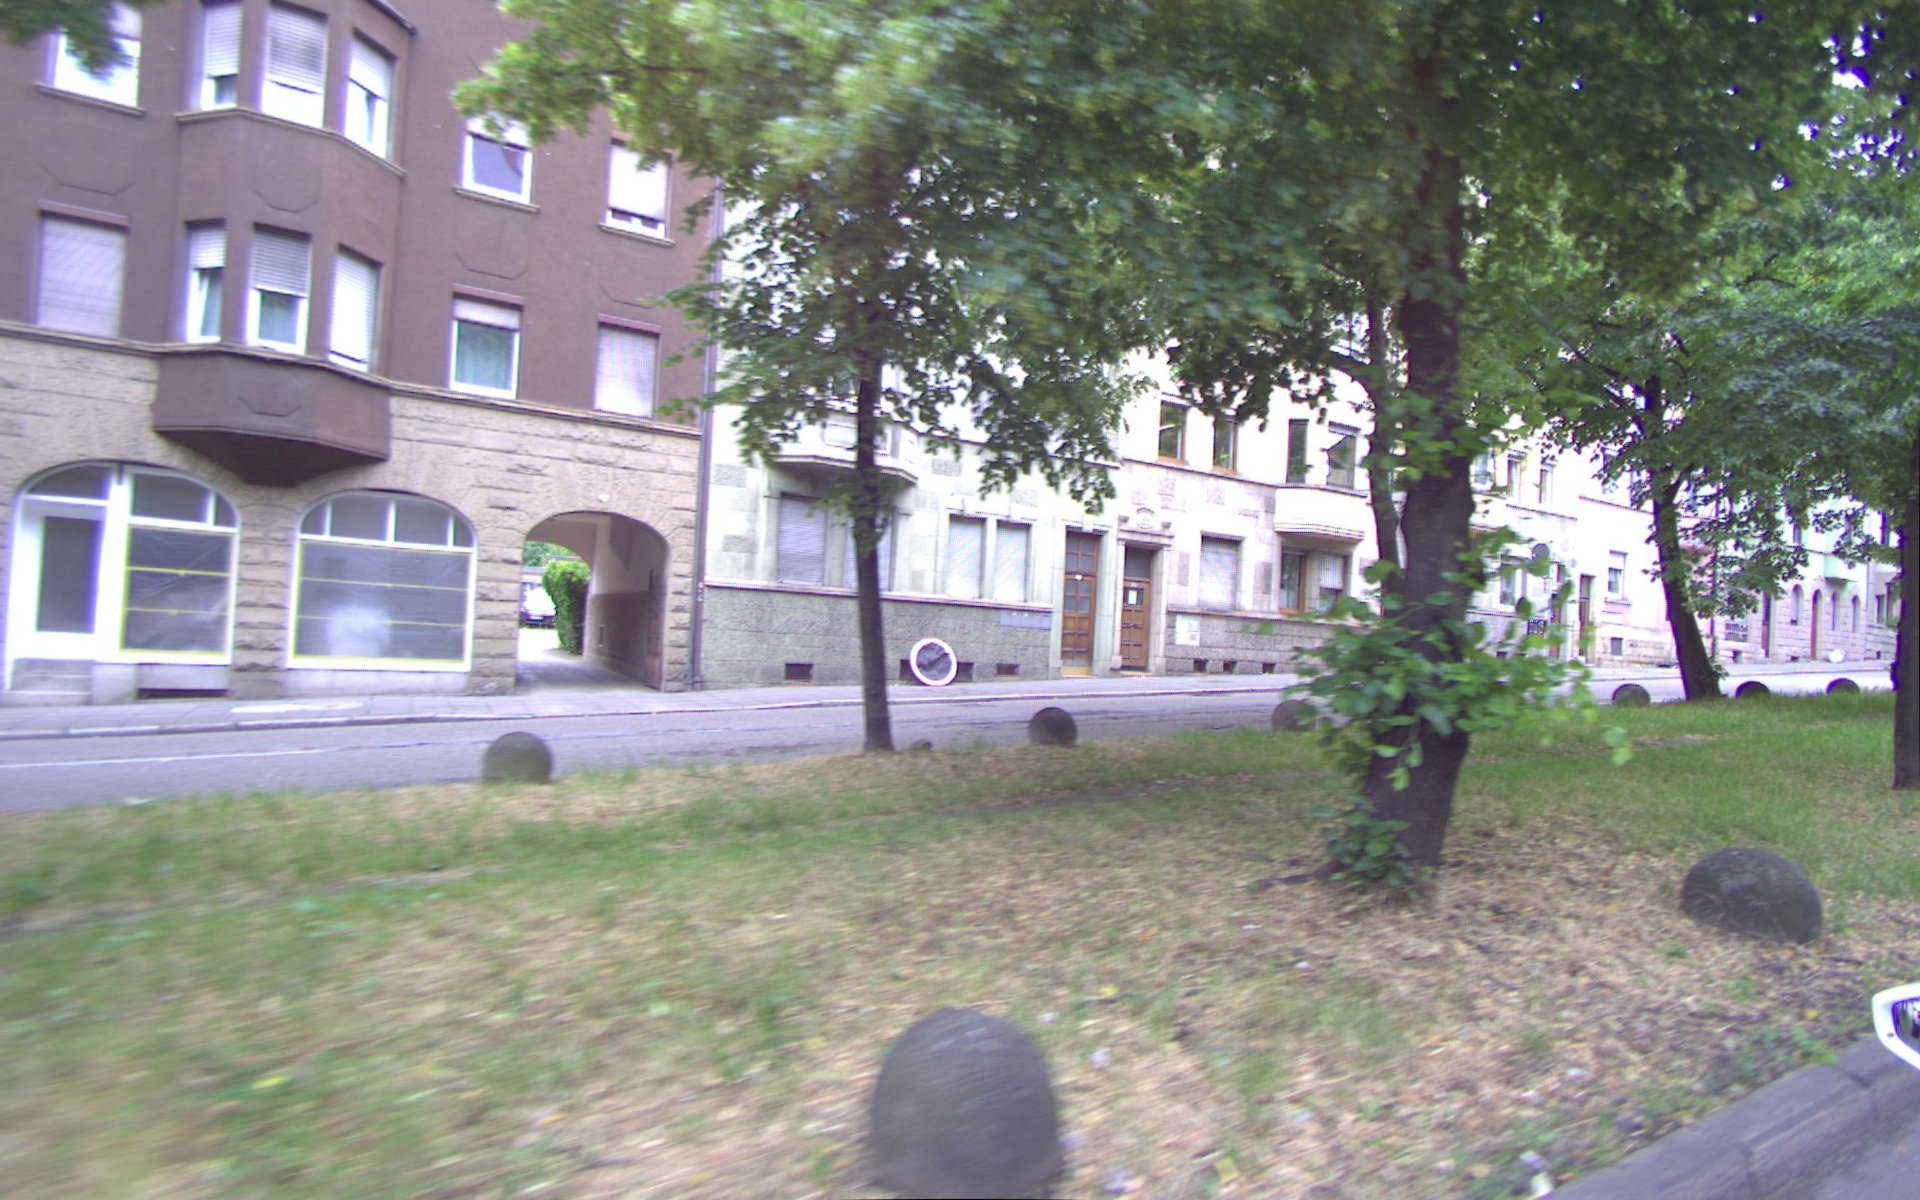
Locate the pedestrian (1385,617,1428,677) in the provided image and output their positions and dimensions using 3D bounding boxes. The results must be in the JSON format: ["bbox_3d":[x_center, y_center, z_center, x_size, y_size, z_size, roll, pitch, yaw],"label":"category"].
[{"bbox_3d":[11.406,1.200,25.673,0.695,1.480,0.695,1,1,-30],"label":"pedestrian"}]
